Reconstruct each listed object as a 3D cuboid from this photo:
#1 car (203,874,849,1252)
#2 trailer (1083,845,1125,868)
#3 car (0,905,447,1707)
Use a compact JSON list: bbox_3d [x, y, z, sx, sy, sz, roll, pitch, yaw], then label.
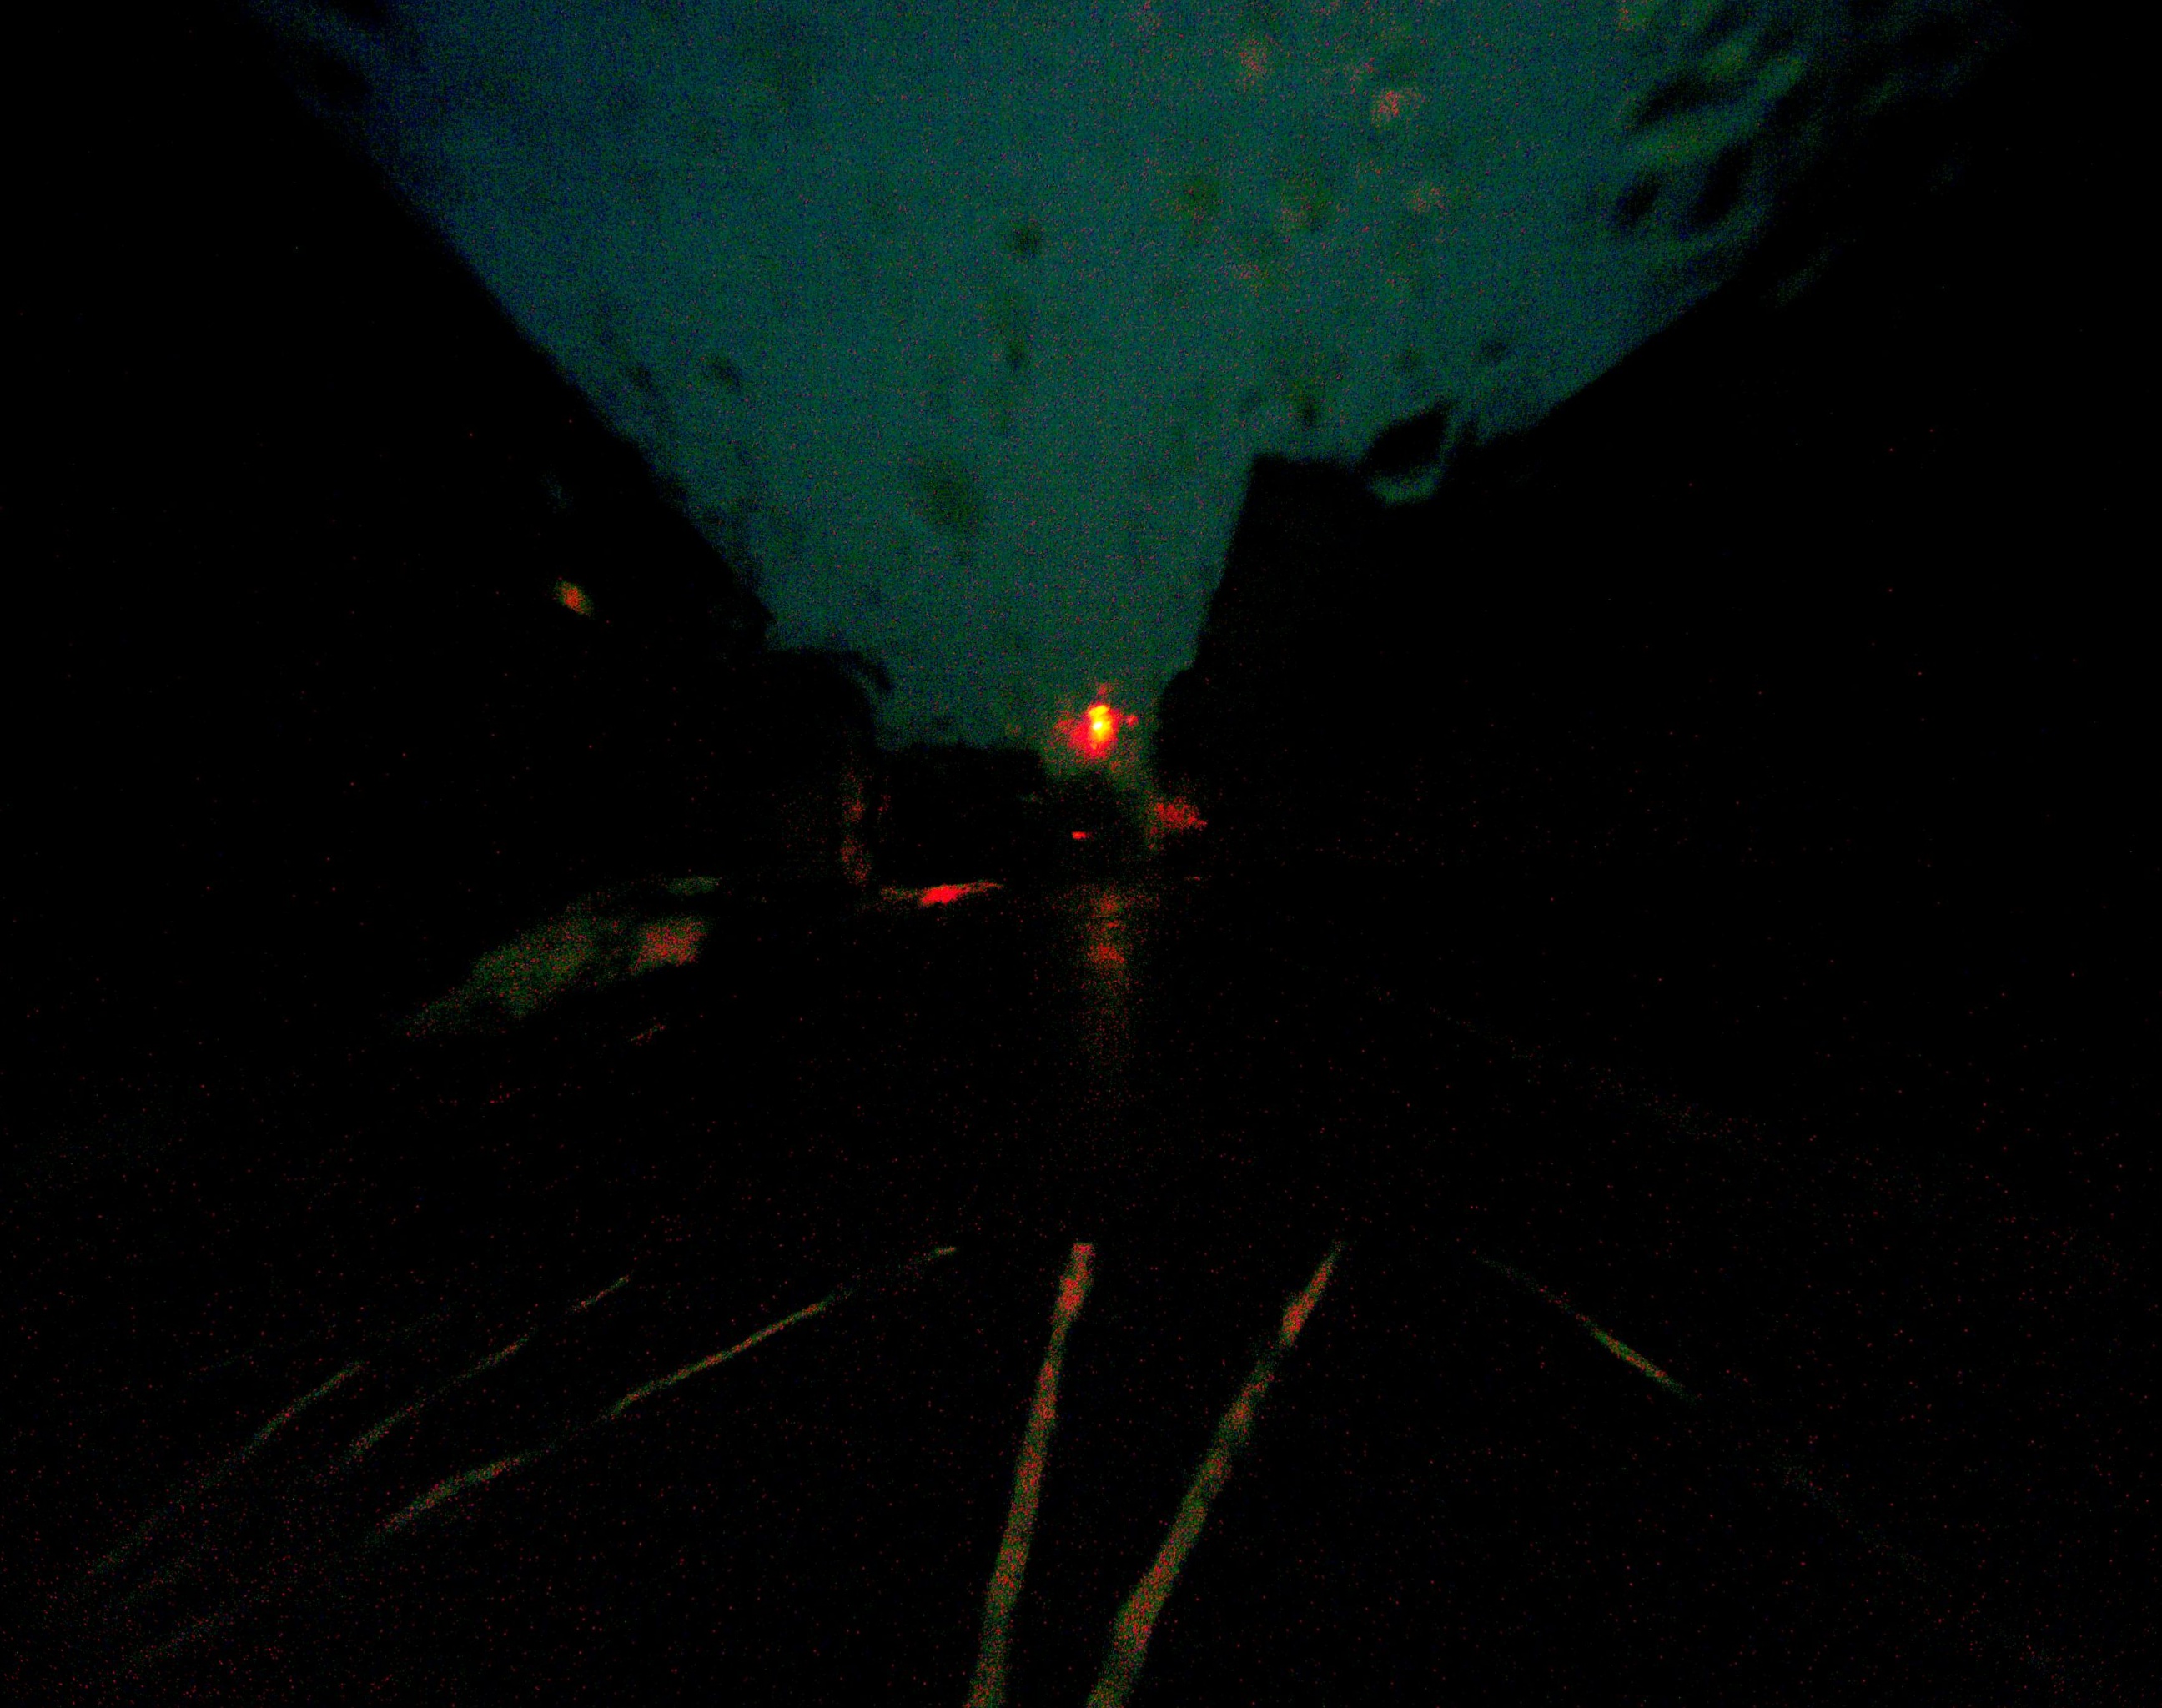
[{"bbox_3d":[-3.136,1.012,5.448,1.721,1.491,3.905,-3,1,-1],"label":"car"},{"bbox_3d":[1.746,0.180,56.177,1.996,1.380,4.735,-4,1,15],"label":"trailer"},{"bbox_3d":[-2.997,0.967,0.266,1.915,1.472,4.280,-2,1,-1],"label":"car"}]
